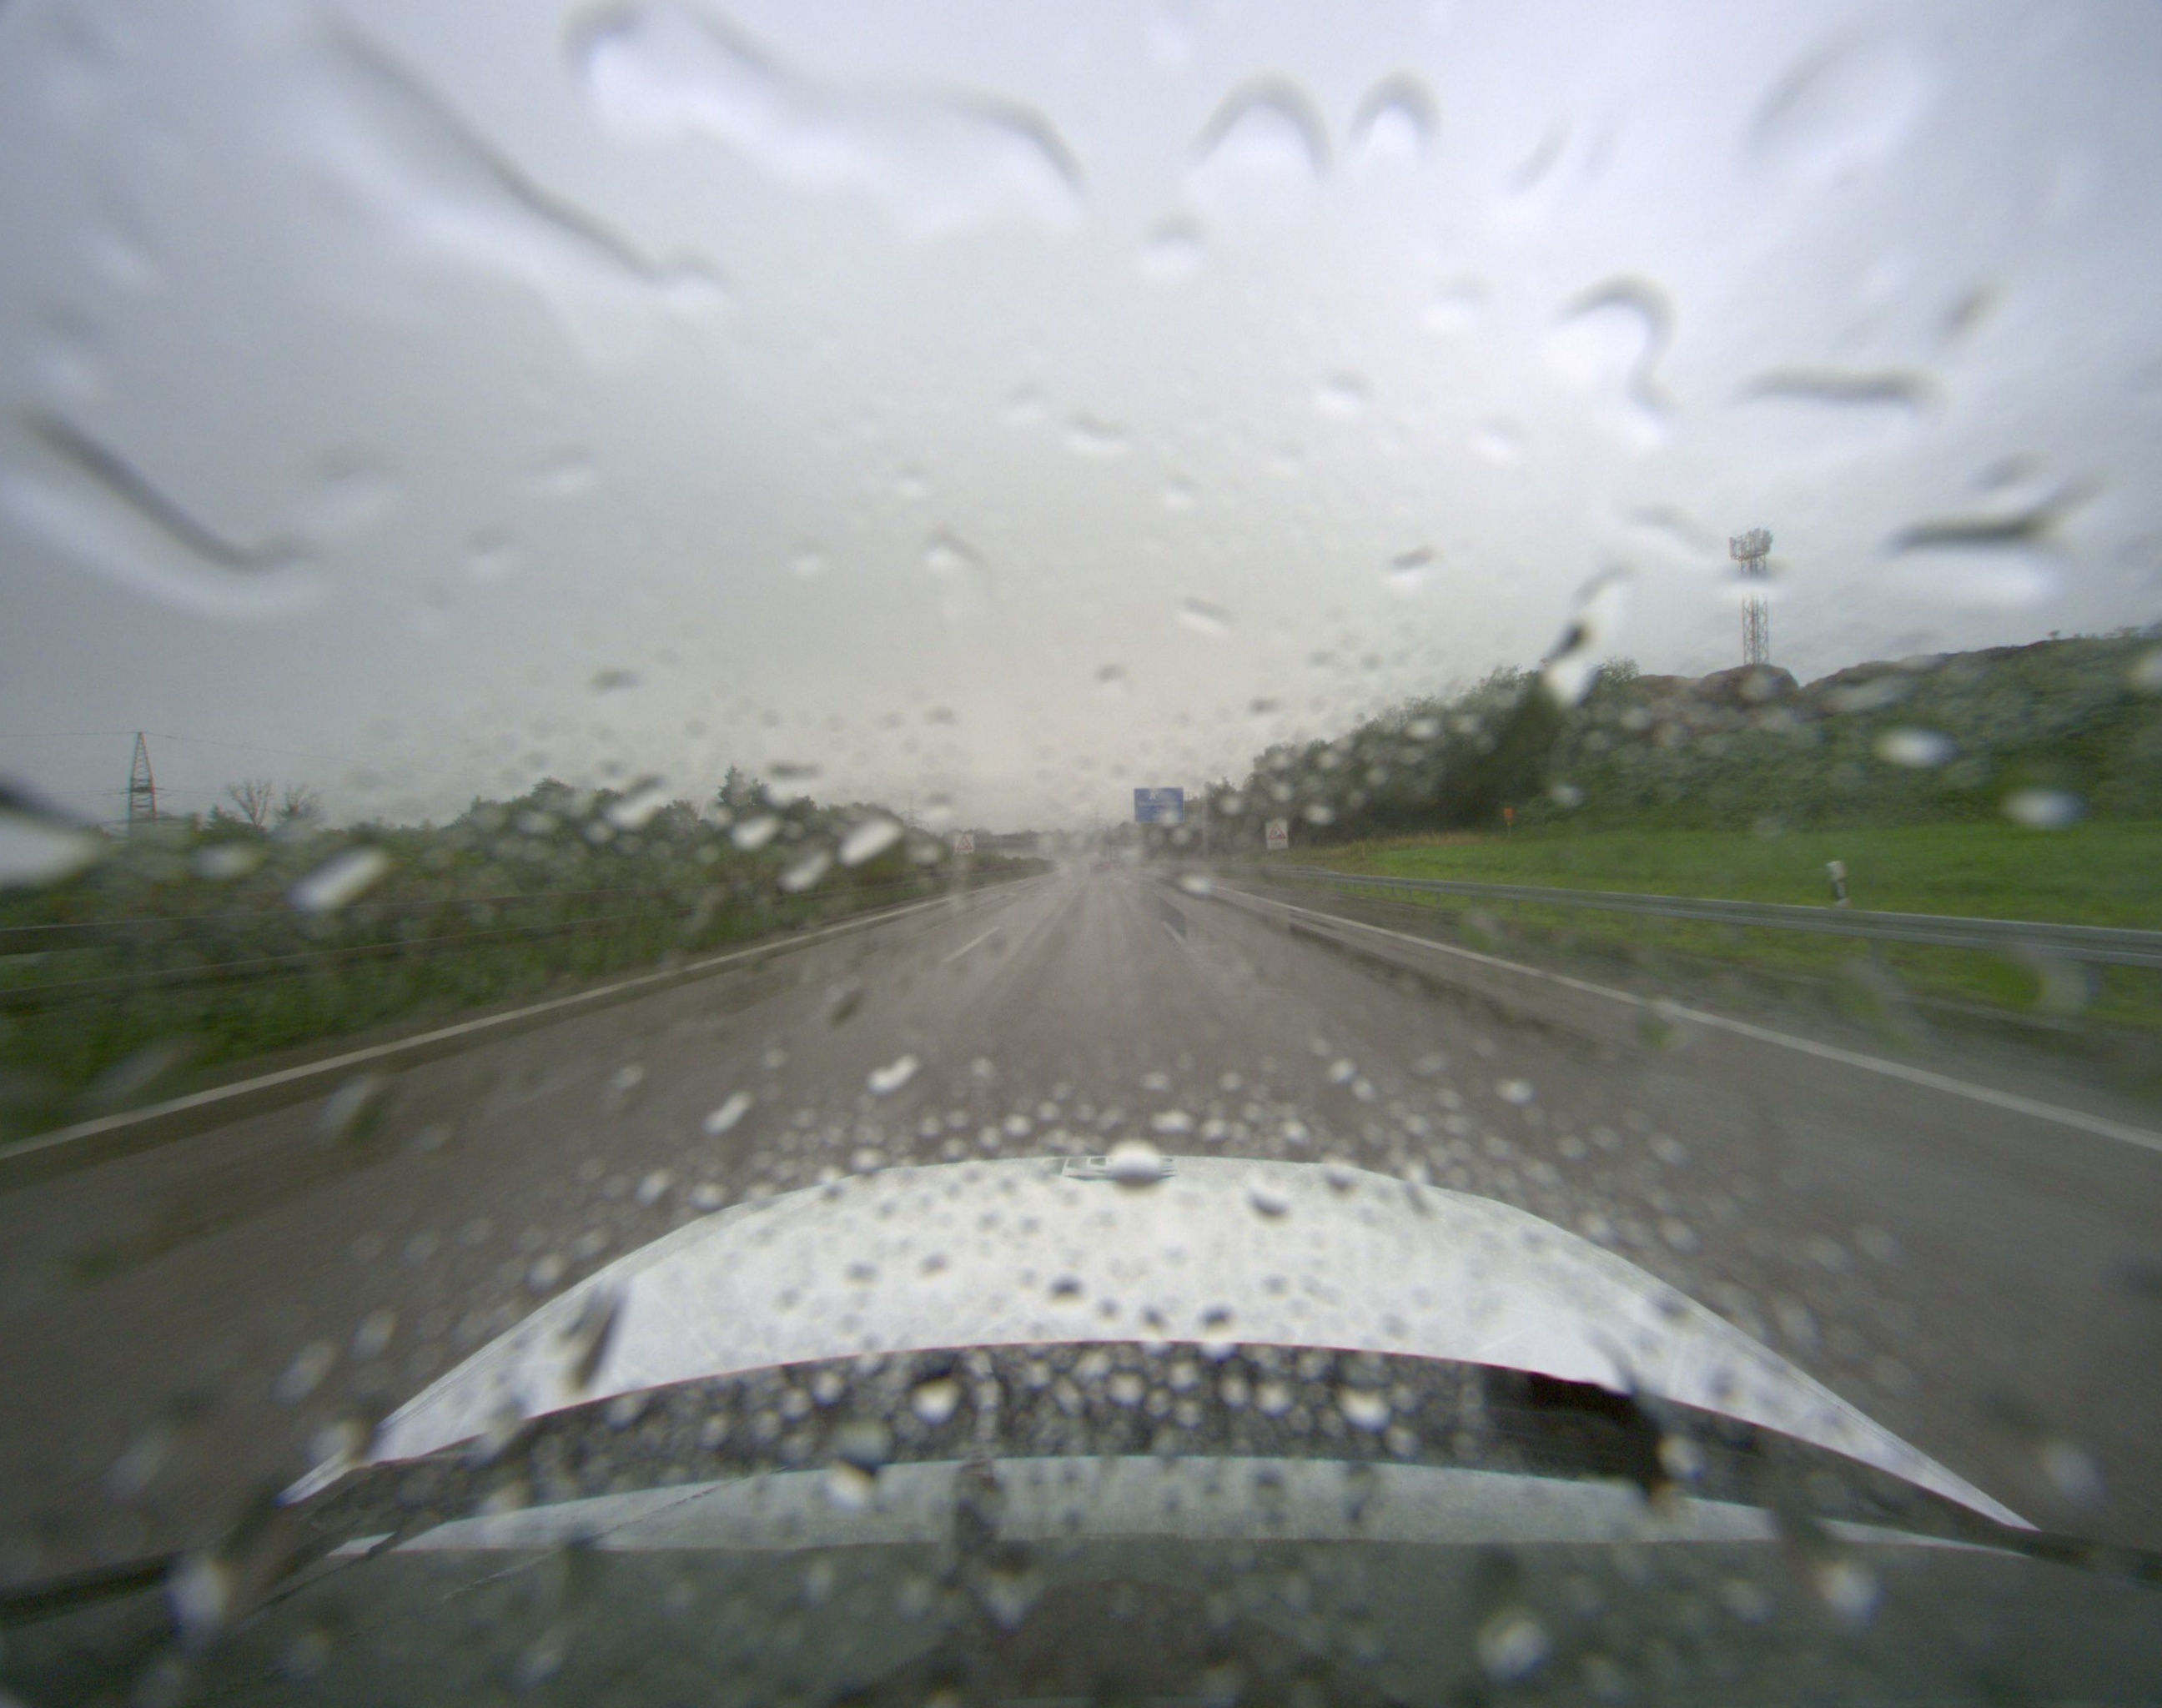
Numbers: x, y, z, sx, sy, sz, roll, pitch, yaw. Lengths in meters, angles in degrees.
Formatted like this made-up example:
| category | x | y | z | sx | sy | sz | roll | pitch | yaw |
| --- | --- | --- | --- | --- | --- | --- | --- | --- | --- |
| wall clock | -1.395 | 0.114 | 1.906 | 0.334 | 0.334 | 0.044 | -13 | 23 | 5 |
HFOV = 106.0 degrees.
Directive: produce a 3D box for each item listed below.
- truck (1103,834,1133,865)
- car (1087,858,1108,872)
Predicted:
| category | x | y | z | sx | sy | sz | roll | pitch | yaw |
| --- | --- | --- | --- | --- | --- | --- | --- | --- | --- |
| truck | 6.433 | -0.789 | 146.055 | 4.243 | 4.971 | 17.337 | -4 | 0 | 0 |
| car | 1.421 | 0.943 | 71.773 | 1.743 | 1.212 | 4.000 | -1 | 0 | 1 |
